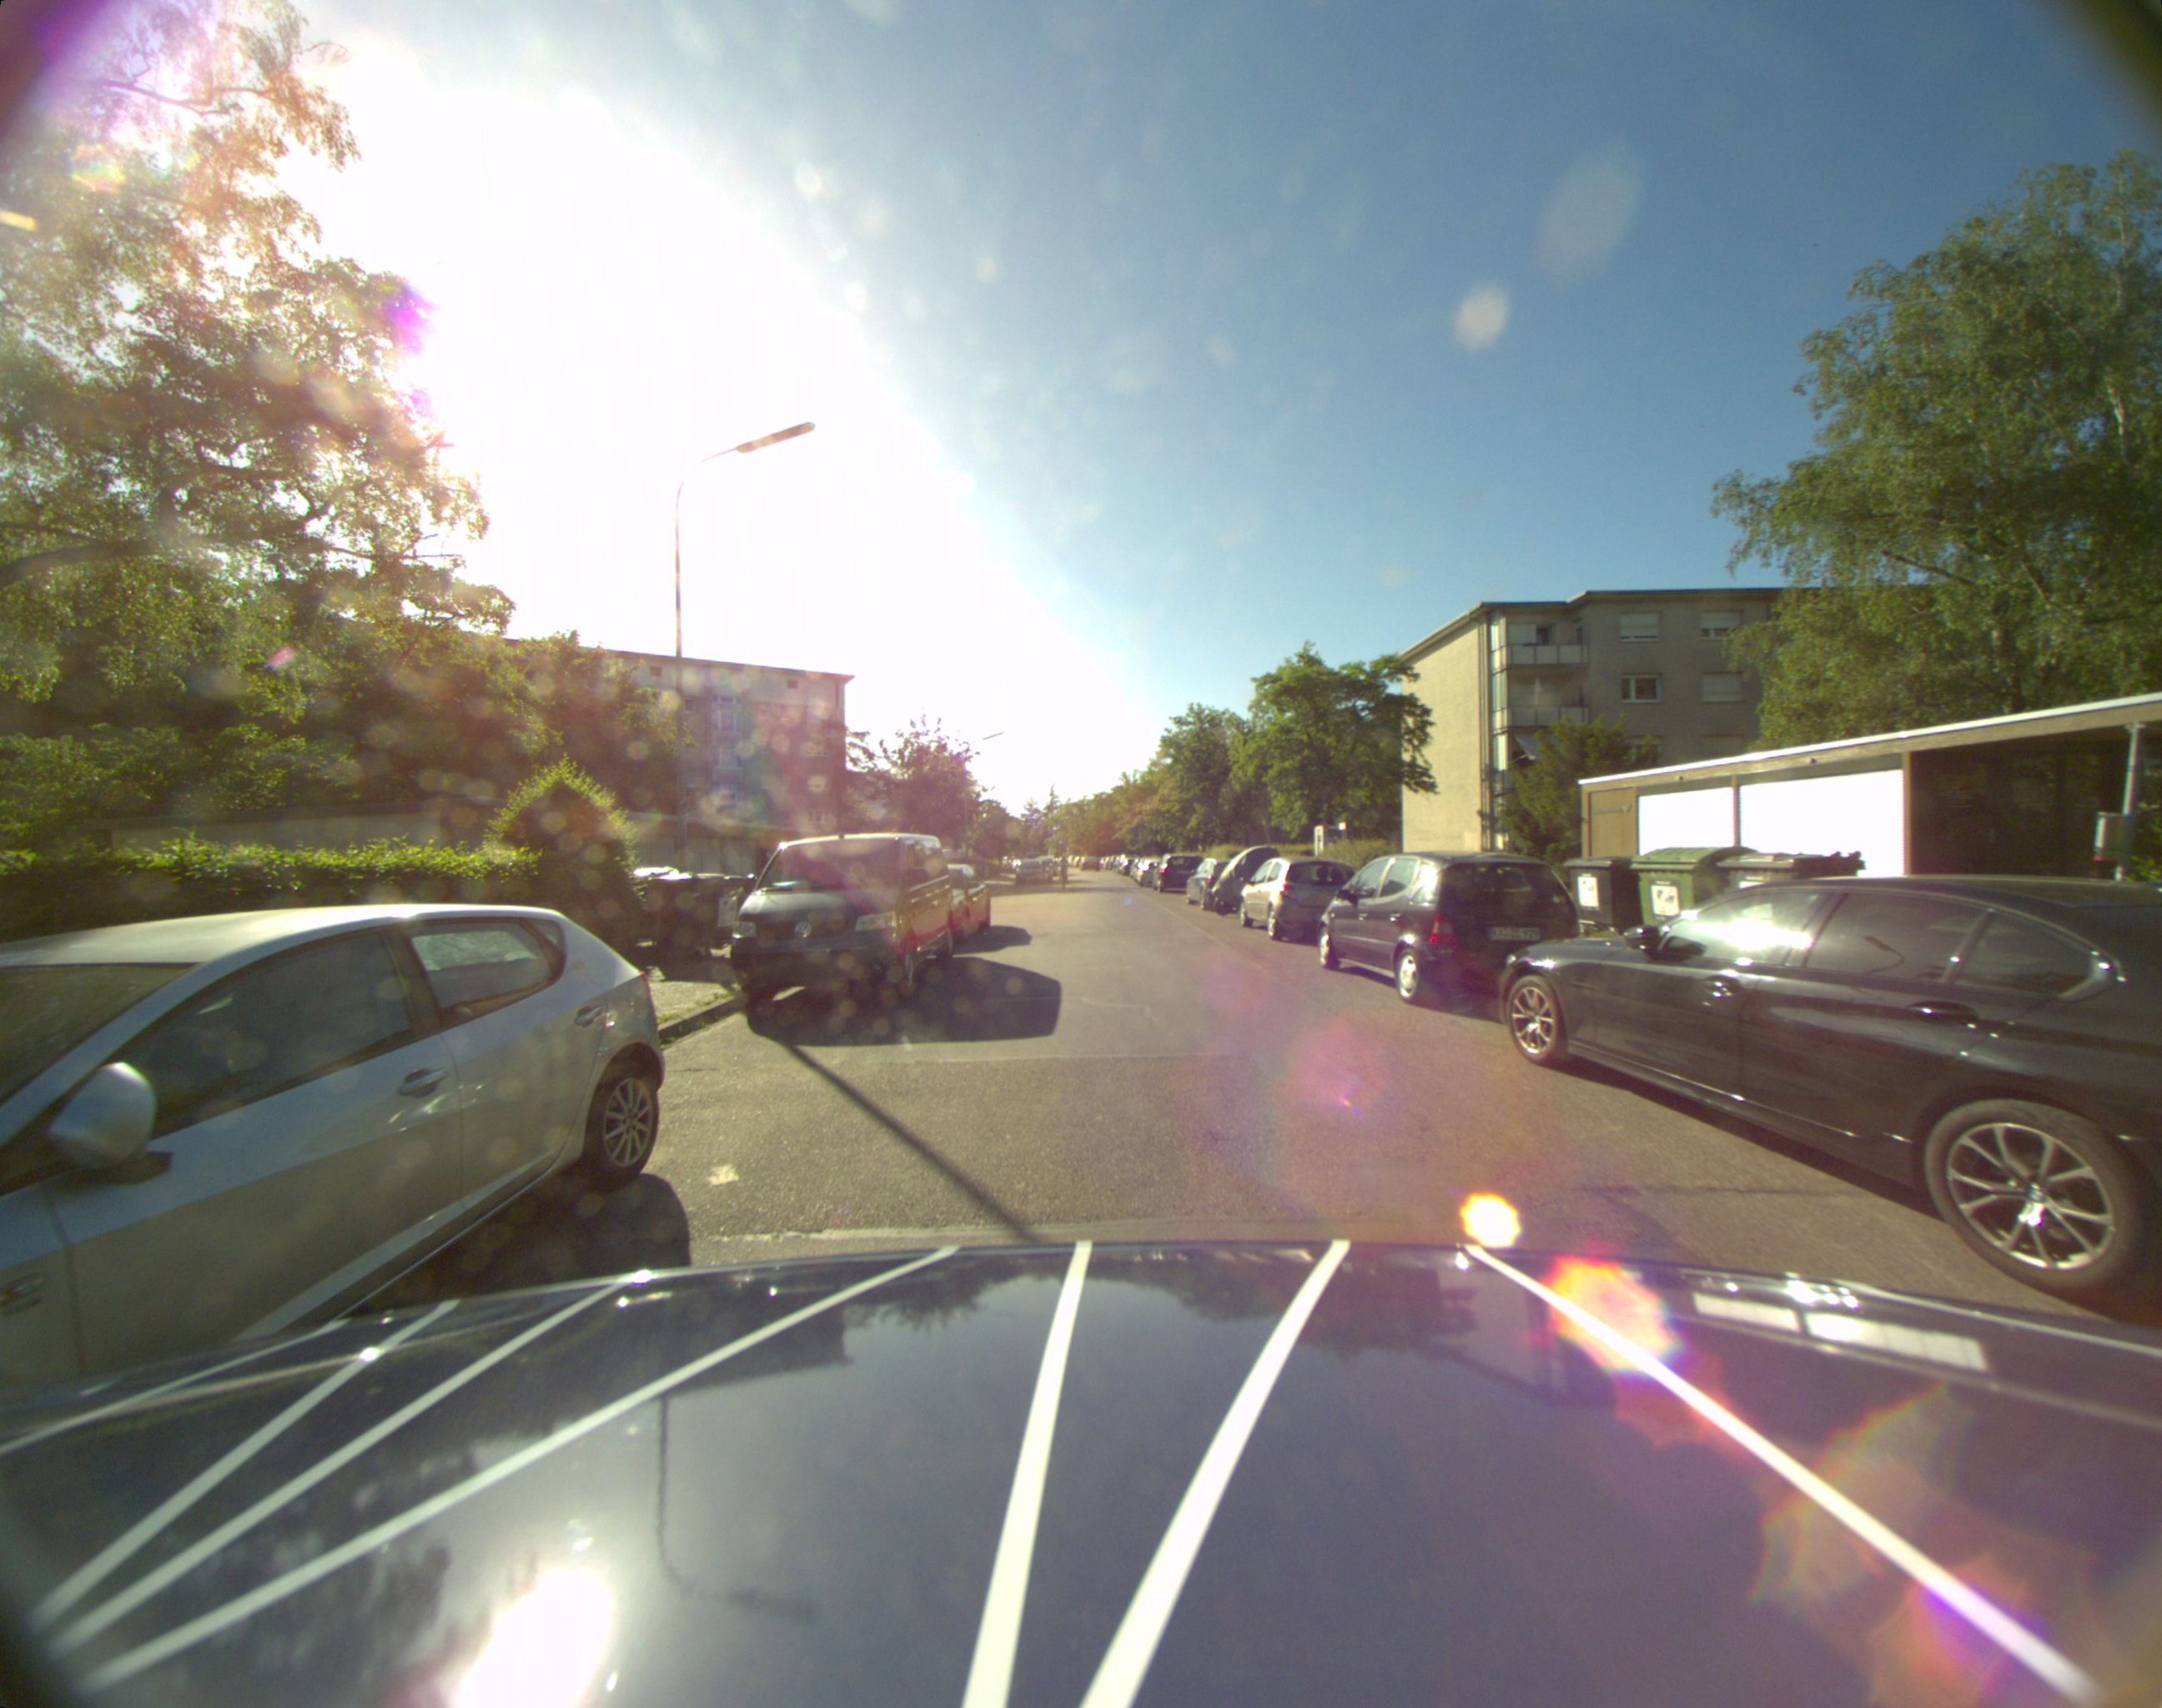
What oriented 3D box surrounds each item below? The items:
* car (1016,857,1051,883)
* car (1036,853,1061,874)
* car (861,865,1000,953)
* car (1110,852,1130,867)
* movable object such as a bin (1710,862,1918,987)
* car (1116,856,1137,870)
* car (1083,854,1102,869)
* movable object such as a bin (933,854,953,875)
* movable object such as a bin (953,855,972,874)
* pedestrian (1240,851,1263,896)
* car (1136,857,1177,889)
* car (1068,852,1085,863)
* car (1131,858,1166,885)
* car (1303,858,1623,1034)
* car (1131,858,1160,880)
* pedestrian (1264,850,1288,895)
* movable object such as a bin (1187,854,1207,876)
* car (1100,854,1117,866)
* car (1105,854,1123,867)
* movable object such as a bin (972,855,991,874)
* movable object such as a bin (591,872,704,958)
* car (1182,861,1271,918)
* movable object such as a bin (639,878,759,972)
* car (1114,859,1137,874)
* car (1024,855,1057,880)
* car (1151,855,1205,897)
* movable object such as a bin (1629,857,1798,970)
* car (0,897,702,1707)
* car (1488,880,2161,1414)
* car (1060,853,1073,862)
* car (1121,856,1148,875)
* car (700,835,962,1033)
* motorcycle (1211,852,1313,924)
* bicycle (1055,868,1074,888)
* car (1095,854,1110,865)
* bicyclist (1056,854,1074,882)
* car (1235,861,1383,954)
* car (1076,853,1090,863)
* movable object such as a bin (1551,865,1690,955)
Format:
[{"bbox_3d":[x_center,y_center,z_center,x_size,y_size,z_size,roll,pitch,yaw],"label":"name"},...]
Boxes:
[{"bbox_3d":[-2.844,0.933,46.069,1.809,1.486,3.795,-2,0,1],"label":"car"},{"bbox_3d":[-2.667,0.756,63.832,1.758,1.617,4.495,-2,0,1],"label":"car"},{"bbox_3d":[-2.932,1.022,15.860,1.805,1.410,4.636,-2,0,2],"label":"car"},{"bbox_3d":[4.194,0.600,83.309,1.811,1.596,4.431,0,0,-2],"label":"car"},{"bbox_3d":[8.639,0.789,9.051,1.180,1.332,1.343,-2,0,1],"label":"movable object such as a bin"},{"bbox_3d":[4.608,0.896,77.354,1.759,1.428,4.150,0,0,-1],"label":"car"},{"bbox_3d":[1.164,0.795,78.265,1.915,1.468,4.570,0,0,0],"label":"car"},{"bbox_3d":[-10.445,0.772,57.499,1.328,1.528,1.029,-2,1,-6],"label":"movable object such as a bin"},{"bbox_3d":[-8.998,0.792,57.553,1.328,1.423,1.029,-2,1,-6],"label":"movable object such as a bin"},{"bbox_3d":[6.457,0.728,28.823,0.722,1.669,0.616,-2,1,0],"label":"pedestrian"},{"bbox_3d":[3.832,0.941,39.134,1.758,1.417,4.210,1,1,2],"label":"car"},{"bbox_3d":[-0.832,0.586,126.569,1.886,1.857,5.434,0,0,-10],"label":"car"},{"bbox_3d":[3.984,1.015,45.226,1.758,1.481,4.901,2,0,2],"label":"car"},{"bbox_3d":[4.070,0.866,8.864,1.759,1.565,3.719,1,0,-1],"label":"car"},{"bbox_3d":[4.377,0.999,52.344,1.653,1.455,3.495,0,0,-1],"label":"car"},{"bbox_3d":[7.368,0.701,28.769,0.722,1.669,0.600,-2,1,0],"label":"pedestrian"},{"bbox_3d":[7.847,0.730,51.389,1.004,1.407,1.326,-4,1,-2],"label":"movable object such as a bin"},{"bbox_3d":[3.431,0.747,95.293,1.636,1.470,3.878,0,0,-5],"label":"car"},{"bbox_3d":[3.869,0.742,89.971,1.811,1.470,3.939,0,0,-3],"label":"car"},{"bbox_3d":[-7.539,0.810,57.635,1.328,1.419,1.069,1,0,-6],"label":"movable object such as a bin"},{"bbox_3d":[-7.365,1.013,12.982,1.226,1.357,1.133,-1,1,3],"label":"movable object such as a bin"},{"bbox_3d":[4.127,0.965,22.227,1.758,1.412,4.268,1,0,0],"label":"car"},{"bbox_3d":[-5.991,1.072,12.004,1.028,1.302,1.388,2,1,10],"label":"movable object such as a bin"},{"bbox_3d":[4.163,1.169,71.824,1.642,1.377,4.169,0,0,-4],"label":"car"},{"bbox_3d":[-2.693,0.869,51.152,1.835,1.537,4.641,-2,0,1],"label":"car"},{"bbox_3d":[4.086,0.877,32.616,1.758,1.626,4.370,1,0,0],"label":"car"},{"bbox_3d":[8.608,0.767,10.427,1.180,1.400,1.343,-2,0,1],"label":"movable object such as a bin"},{"bbox_3d":[-2.962,1.027,2.244,1.627,1.481,4.035,-3,0,-1],"label":"car"},{"bbox_3d":[4.117,0.959,3.684,1.759,1.472,4.536,1,0,-1],"label":"car"},{"bbox_3d":[-2.612,0.664,137.487,1.659,1.558,3.686,0,0,-11],"label":"car"},{"bbox_3d":[4.233,0.876,60.325,1.759,1.377,4.673,0,1,-1],"label":"car"},{"bbox_3d":[-2.894,0.799,10.038,1.857,1.923,4.704,-3,0,-1],"label":"car"},{"bbox_3d":[4.477,0.825,18.882,2.262,1.717,0.932,1,1,-3],"label":"motorcycle"},{"bbox_3d":[-0.781,1.165,37.376,0.824,0.896,2.203,-2,0,1],"label":"bicycle"},{"bbox_3d":[2.850,0.726,102.427,1.658,1.470,3.104,0,0,-5],"label":"car"},{"bbox_3d":[-0.793,0.692,37.288,0.812,1.348,1.091,-2,0,1],"label":"bicyclist"},{"bbox_3d":[4.225,0.913,14.734,1.758,1.472,3.959,1,0,2],"label":"car"},{"bbox_3d":[0.264,0.643,119.960,1.659,1.621,3.687,0,0,-8],"label":"car"},{"bbox_3d":[8.338,0.832,11.827,1.180,1.280,1.343,-2,0,1],"label":"movable object such as a bin"}]
